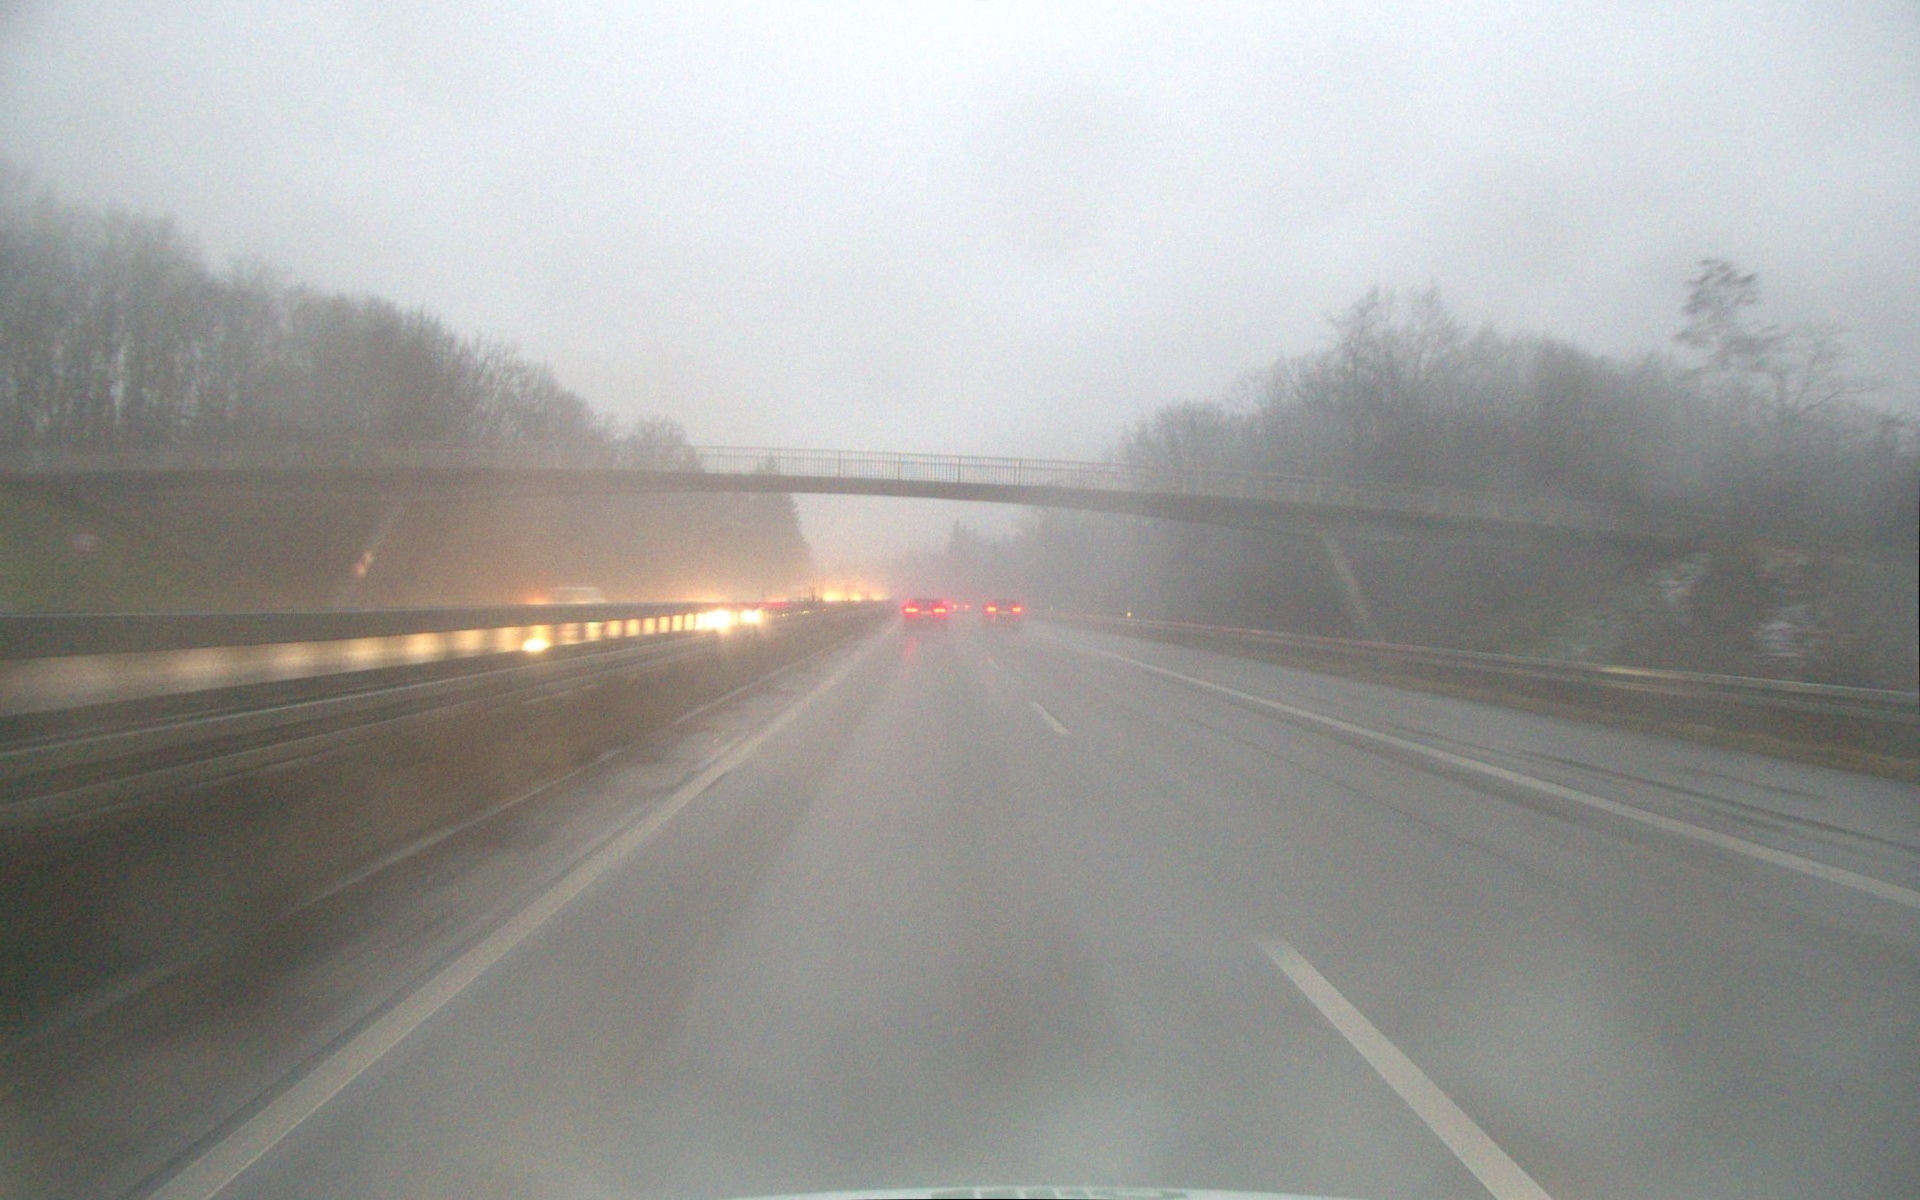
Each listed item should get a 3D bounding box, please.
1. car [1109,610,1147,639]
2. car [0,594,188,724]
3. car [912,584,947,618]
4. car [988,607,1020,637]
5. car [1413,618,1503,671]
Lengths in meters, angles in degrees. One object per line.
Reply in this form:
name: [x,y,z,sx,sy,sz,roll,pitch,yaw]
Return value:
car: [8.198,1.190,80.990,1.424,1.367,3.489,2,0,-1]
car: [-11.833,0.691,21.390,1.804,1.469,3.999,3,0,-1]
car: [-1.269,0.050,69.530,1.424,1.367,3.489,0,0,-1]
car: [2.199,1.082,82.624,1.424,1.454,3.489,2,0,-1]
car: [13.930,1.211,46.426,1.424,1.367,3.489,2,0,-1]
